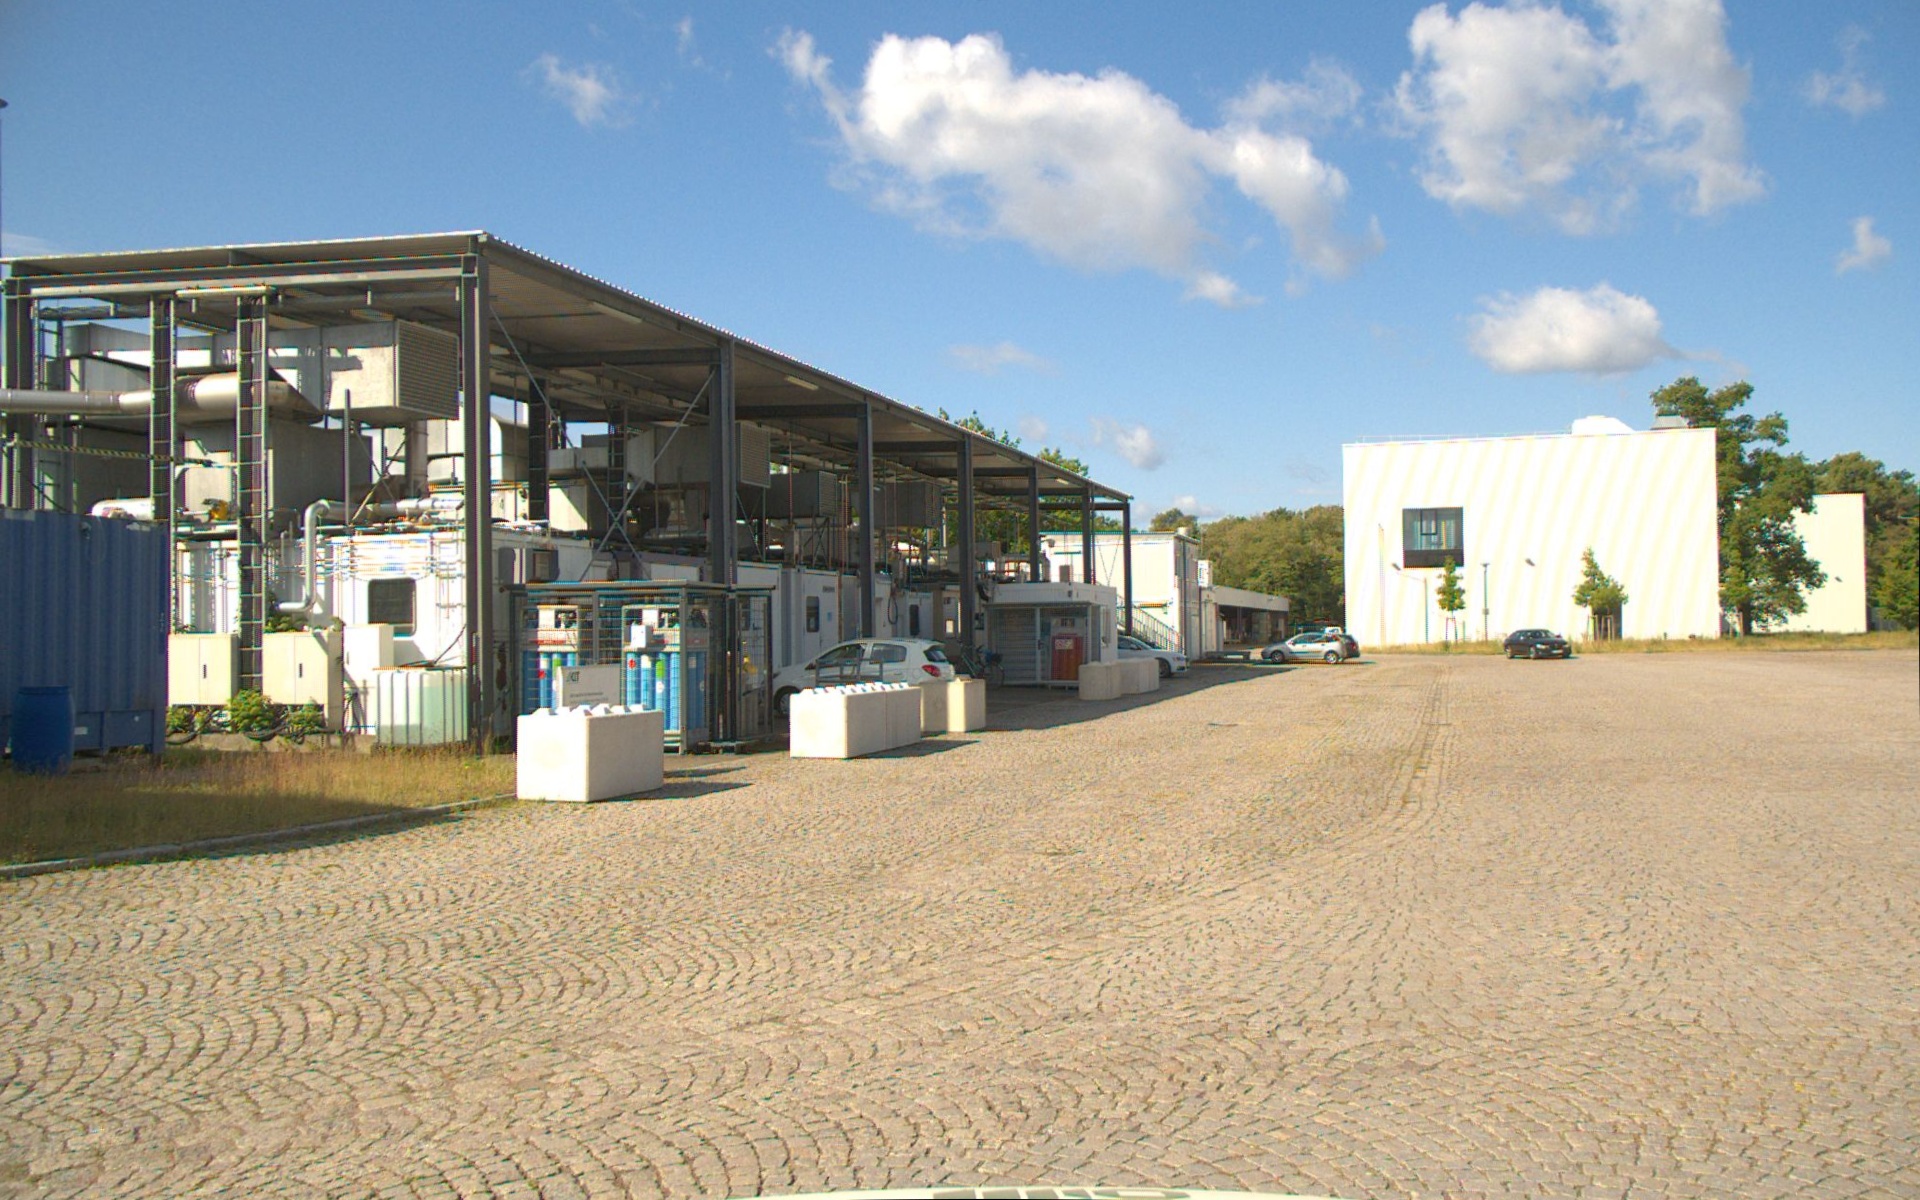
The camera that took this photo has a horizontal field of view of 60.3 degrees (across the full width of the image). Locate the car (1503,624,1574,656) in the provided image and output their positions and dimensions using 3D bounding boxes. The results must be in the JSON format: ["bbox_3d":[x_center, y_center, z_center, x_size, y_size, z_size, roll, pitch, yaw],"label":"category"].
[{"bbox_3d":[27.721,1.924,79.366,1.701,1.454,4.071,-1,-2,-5],"label":"car"}]

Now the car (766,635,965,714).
[{"bbox_3d":[-1.744,1.387,30.895,3.388,1.400,1.612,-1,-2,14],"label":"car"}]

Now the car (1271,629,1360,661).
[{"bbox_3d":[17.831,2.267,82.901,4.252,1.495,1.742,-1,-2,16],"label":"car"}]

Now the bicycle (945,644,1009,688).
[{"bbox_3d":[0.449,1.761,44.318,1.630,1.156,0.486,-1,-2,15],"label":"bicycle"}]

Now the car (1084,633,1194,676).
[{"bbox_3d":[6.214,1.882,57.320,3.607,1.433,1.677,-1,-2,14],"label":"car"}]

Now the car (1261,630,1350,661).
[{"bbox_3d":[16.700,2.192,79.859,4.086,1.428,1.742,-1,-2,16],"label":"car"}]
